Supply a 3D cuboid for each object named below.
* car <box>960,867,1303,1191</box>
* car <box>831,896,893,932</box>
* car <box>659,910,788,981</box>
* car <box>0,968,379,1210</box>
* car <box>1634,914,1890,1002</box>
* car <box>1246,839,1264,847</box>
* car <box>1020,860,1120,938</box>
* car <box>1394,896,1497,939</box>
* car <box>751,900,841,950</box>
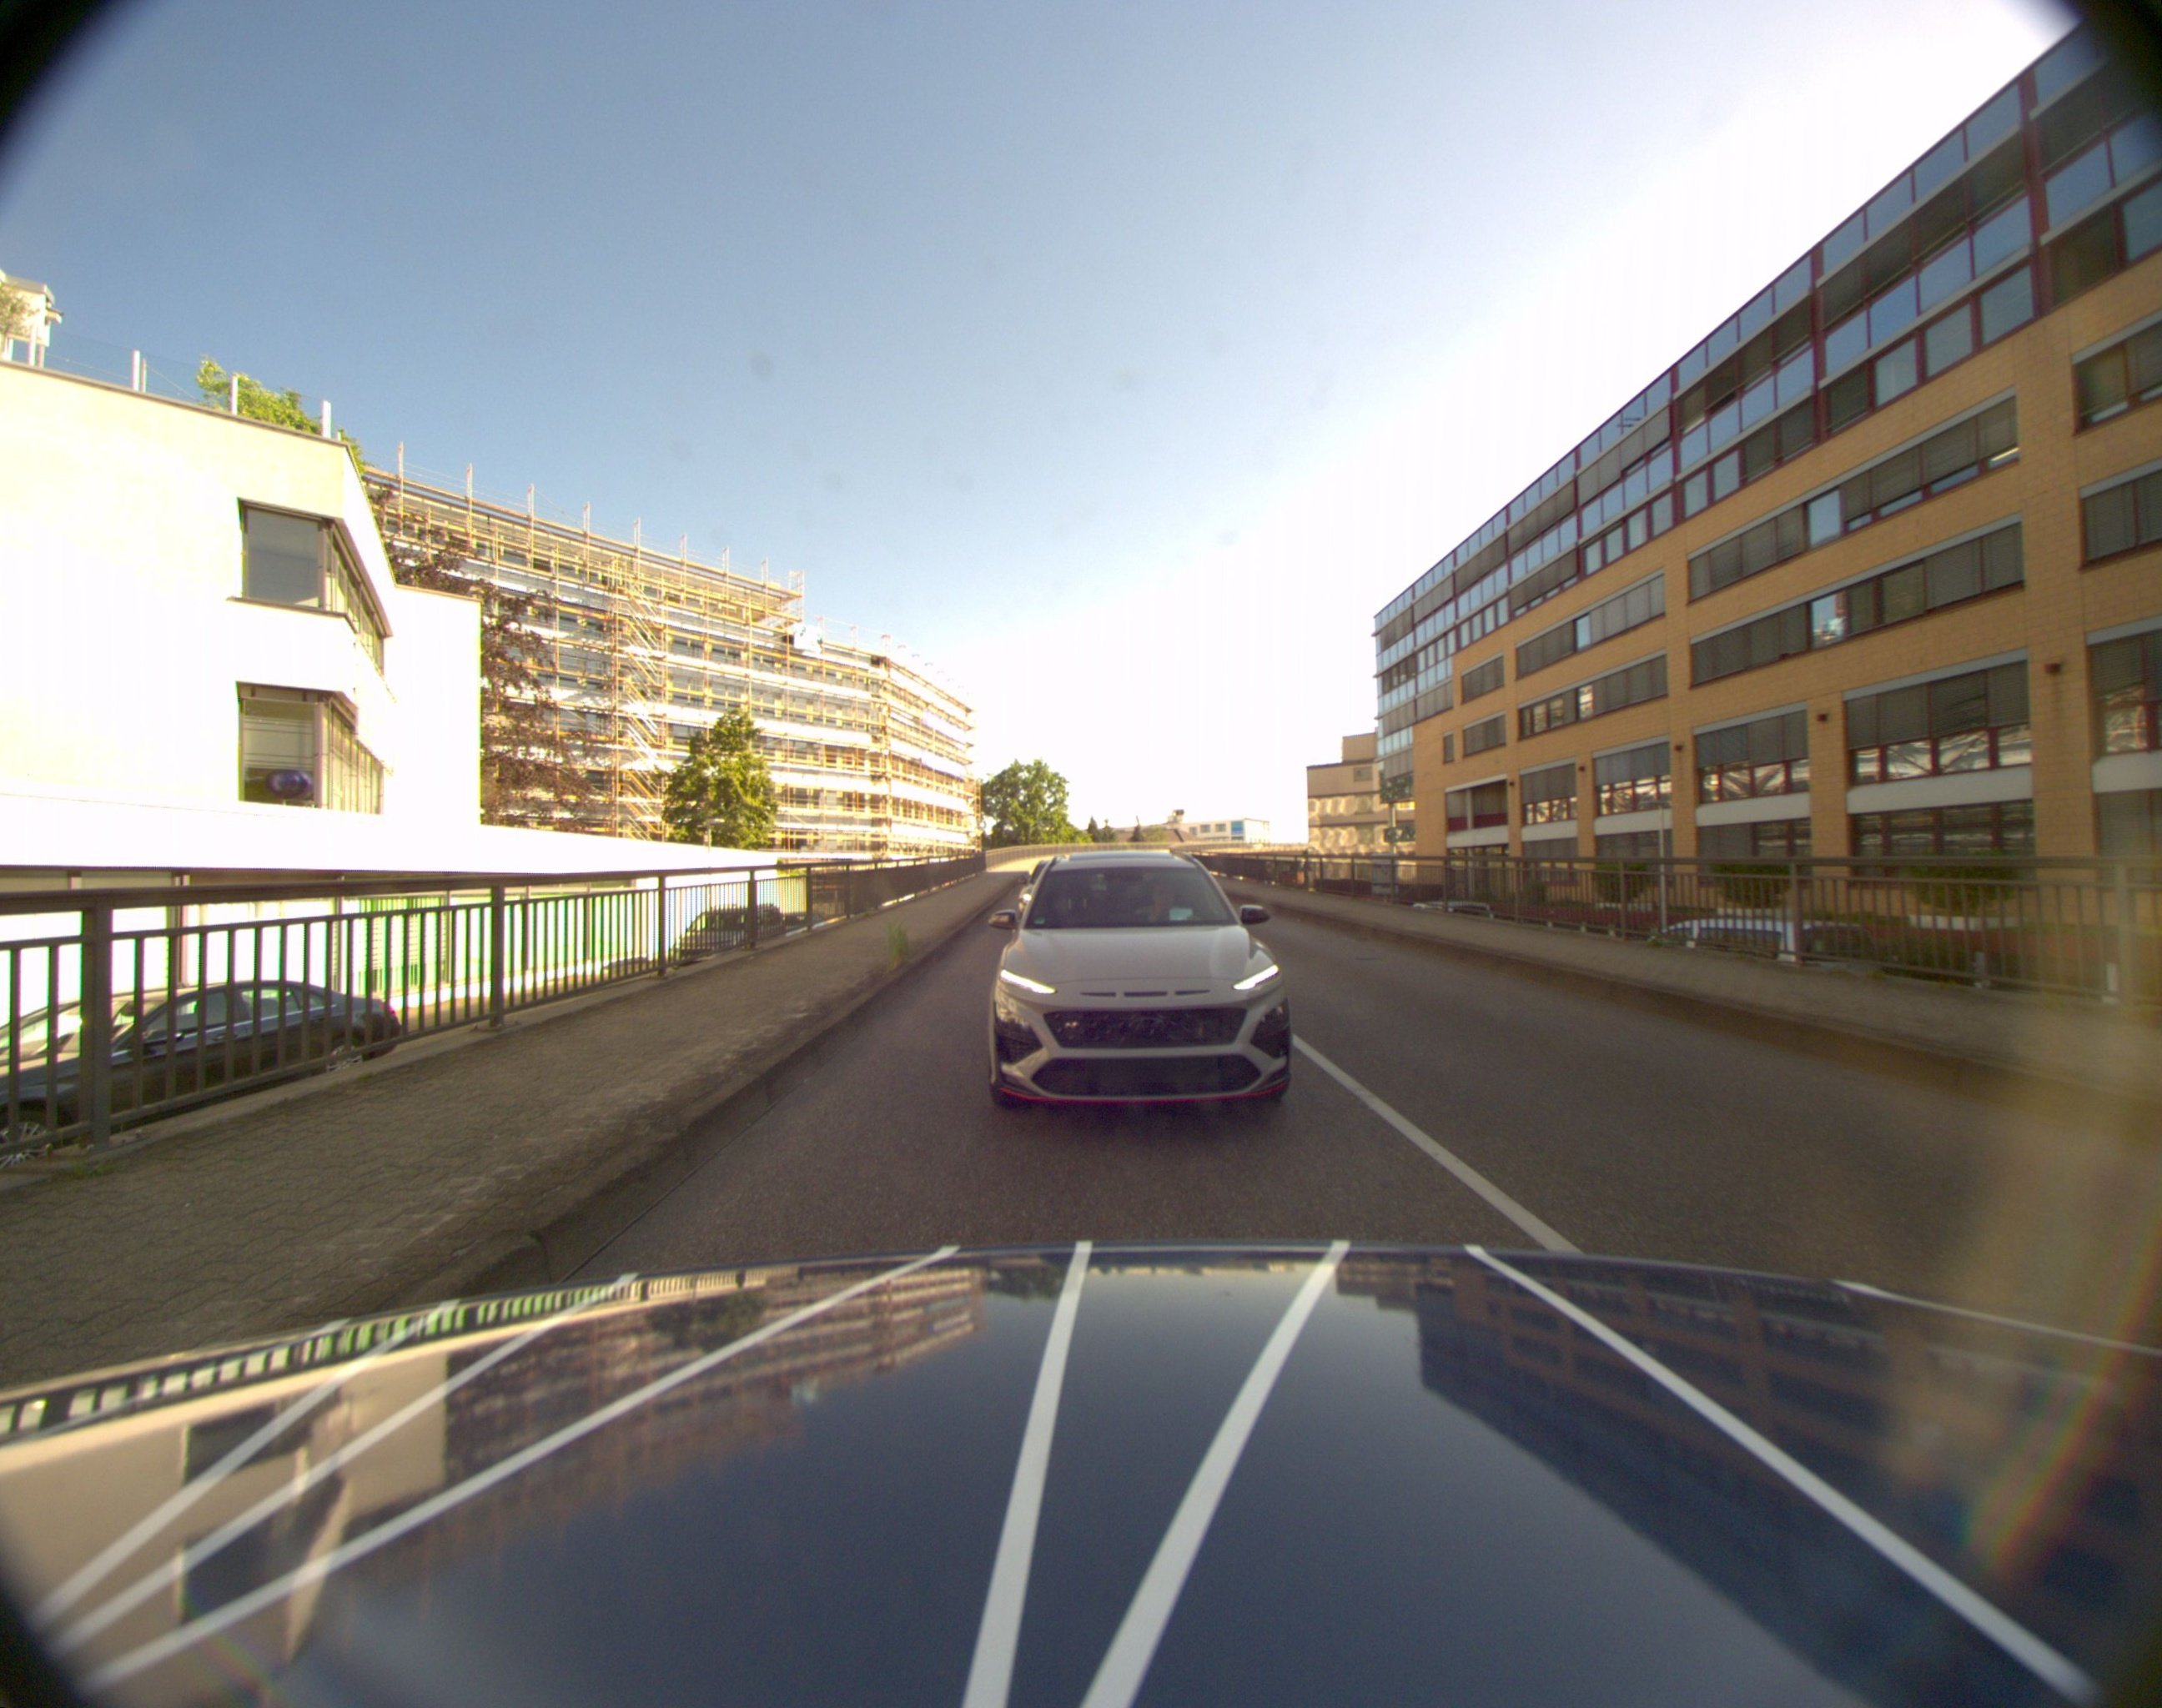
[{"bbox_3d":[0.285,0.926,5.884,1.749,1.637,4.001,0,-1,1],"label":"car"},{"bbox_3d":[-10.213,2.778,35.669,1.726,1.383,4.000,-2,-1,-1],"label":"car"},{"bbox_3d":[-9.910,2.475,21.421,1.726,1.513,4.000,-2,-1,-1],"label":"car"},{"bbox_3d":[-9.599,2.169,7.410,1.726,1.513,4.001,-2,-1,1],"label":"car"},{"bbox_3d":[13.046,1.936,14.913,1.580,1.261,3.809,0,-1,-1],"label":"car"},{"bbox_3d":[31.800,-1.995,139.068,1.947,1.456,4.007,4,3,31],"label":"car"},{"bbox_3d":[-0.260,0.884,16.657,1.902,1.433,4.126,0,0,-1],"label":"car"},{"bbox_3d":[12.740,2.192,26.820,1.766,1.261,3.809,0,-1,-1],"label":"car"},{"bbox_3d":[-10.091,2.482,27.209,1.726,1.383,4.000,-2,-1,-1],"label":"car"}]
